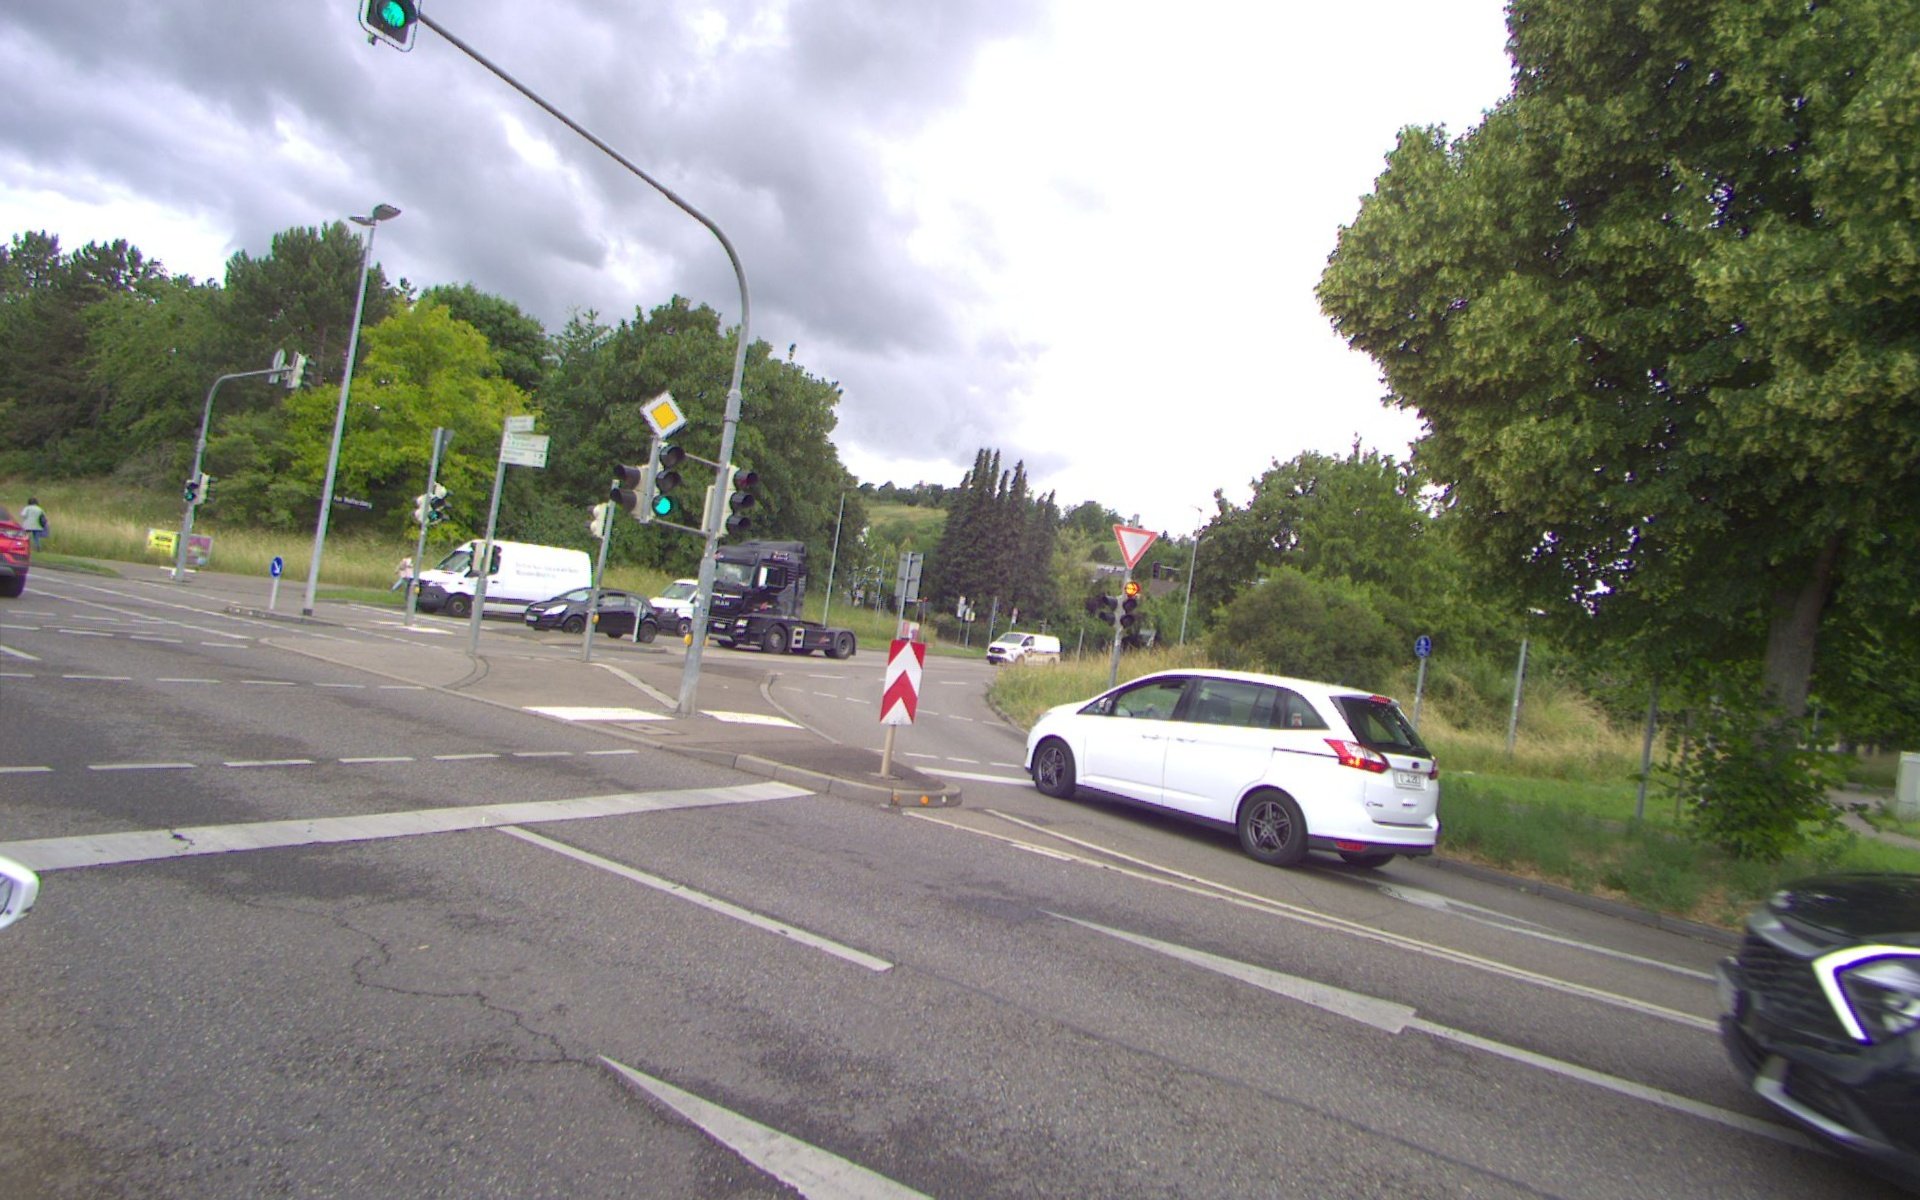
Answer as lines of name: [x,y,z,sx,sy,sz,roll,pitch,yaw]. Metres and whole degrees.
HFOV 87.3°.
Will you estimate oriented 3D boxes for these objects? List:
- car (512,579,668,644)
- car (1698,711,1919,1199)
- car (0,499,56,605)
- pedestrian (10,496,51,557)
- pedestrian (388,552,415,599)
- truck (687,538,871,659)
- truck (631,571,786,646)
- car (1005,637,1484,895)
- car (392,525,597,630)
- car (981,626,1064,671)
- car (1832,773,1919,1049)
car: [-10.541,0.376,28.916,1.669,1.353,3.882,6,-3,34]
car: [4.801,1.392,2.800,4.149,1.547,1.797,6,-2,32]
car: [-16.597,-1.013,16.139,4.304,1.548,1.851,7,-2,32]
pedestrian: [-27.694,-2.190,29.985,0.703,1.681,0.644,6,-1,39]
pedestrian: [-20.413,-0.885,36.768,0.639,1.630,0.708,8,-1,-31]
truck: [-6.202,0.049,35.407,2.648,3.527,6.004,6,-1,34]
truck: [-10.137,0.420,41.055,2.128,2.255,6.028,6,-2,35]
car: [2.611,1.503,10.208,1.752,1.673,4.325,10,-3,-37]
car: [-15.338,-0.666,33.557,1.968,2.660,5.814,6,-2,34]
car: [3.574,2.741,56.310,1.971,1.927,4.945,6,-3,39]
car: [7.194,2.041,5.450,3.511,1.521,1.605,6,-5,38]
